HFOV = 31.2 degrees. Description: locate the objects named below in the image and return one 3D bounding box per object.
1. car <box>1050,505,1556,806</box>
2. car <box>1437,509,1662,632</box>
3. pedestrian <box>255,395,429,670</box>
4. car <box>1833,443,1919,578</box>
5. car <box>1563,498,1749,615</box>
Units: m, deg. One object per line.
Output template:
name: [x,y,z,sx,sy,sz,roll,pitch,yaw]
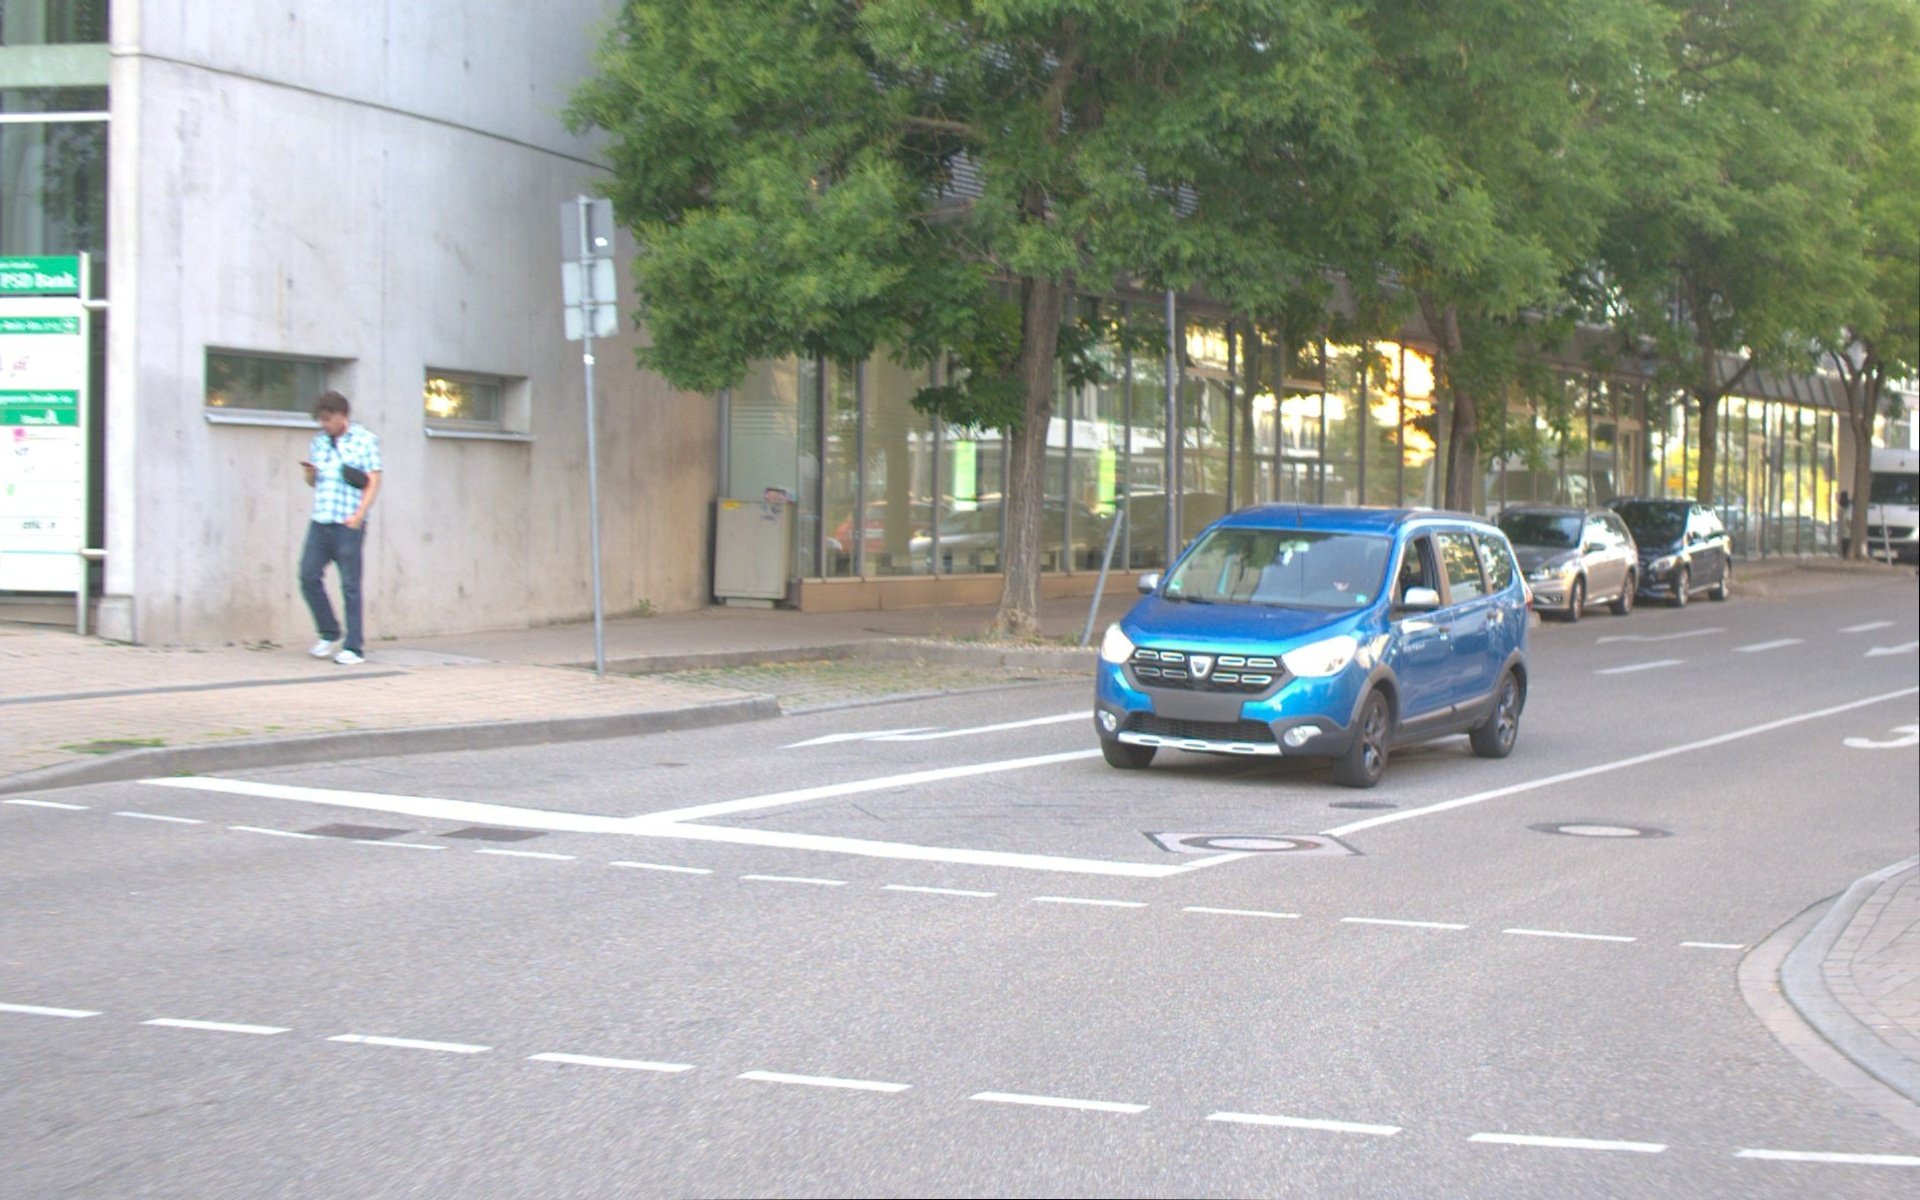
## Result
car: [2.306,0.275,22.036,1.750,1.672,4.267,3,2,27]
car: [7.992,-0.435,46.291,1.706,1.456,4.620,5,3,25]
pedestrian: [-4.454,-0.494,24.800,0.698,1.876,0.878,8,4,19]
car: [19.959,-1.848,71.414,2.103,2.654,6.942,2,2,26]
car: [10.452,-0.681,51.400,1.592,1.563,4.465,5,3,25]
